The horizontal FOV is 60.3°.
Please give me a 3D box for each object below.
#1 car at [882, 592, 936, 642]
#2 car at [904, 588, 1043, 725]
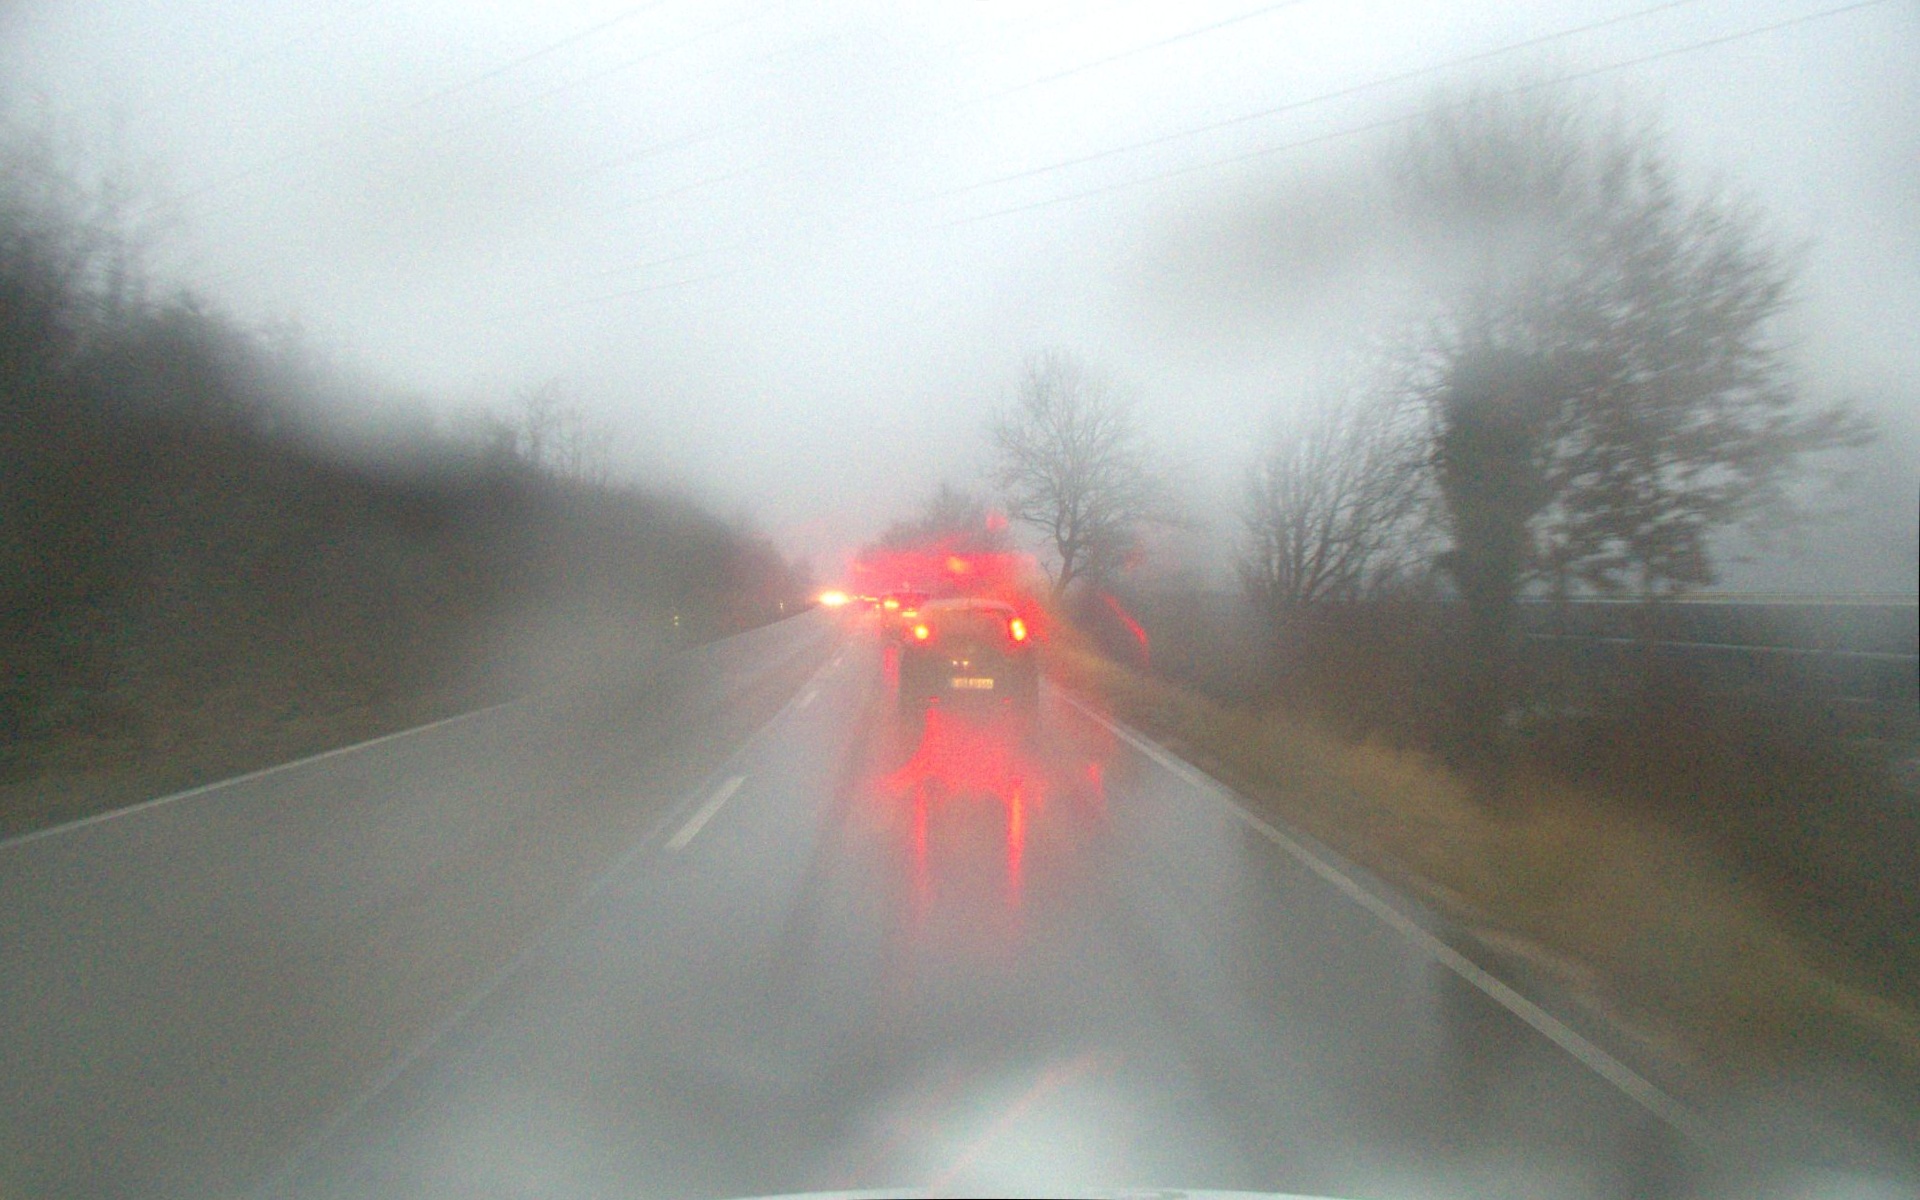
[{"bbox_3d":[-1.500,0.483,49.440,1.515,1.421,3.869,1,0,0],"label":"car"},{"bbox_3d":[0.164,0.636,20.898,1.569,1.548,3.869,1,0,0],"label":"car"}]
